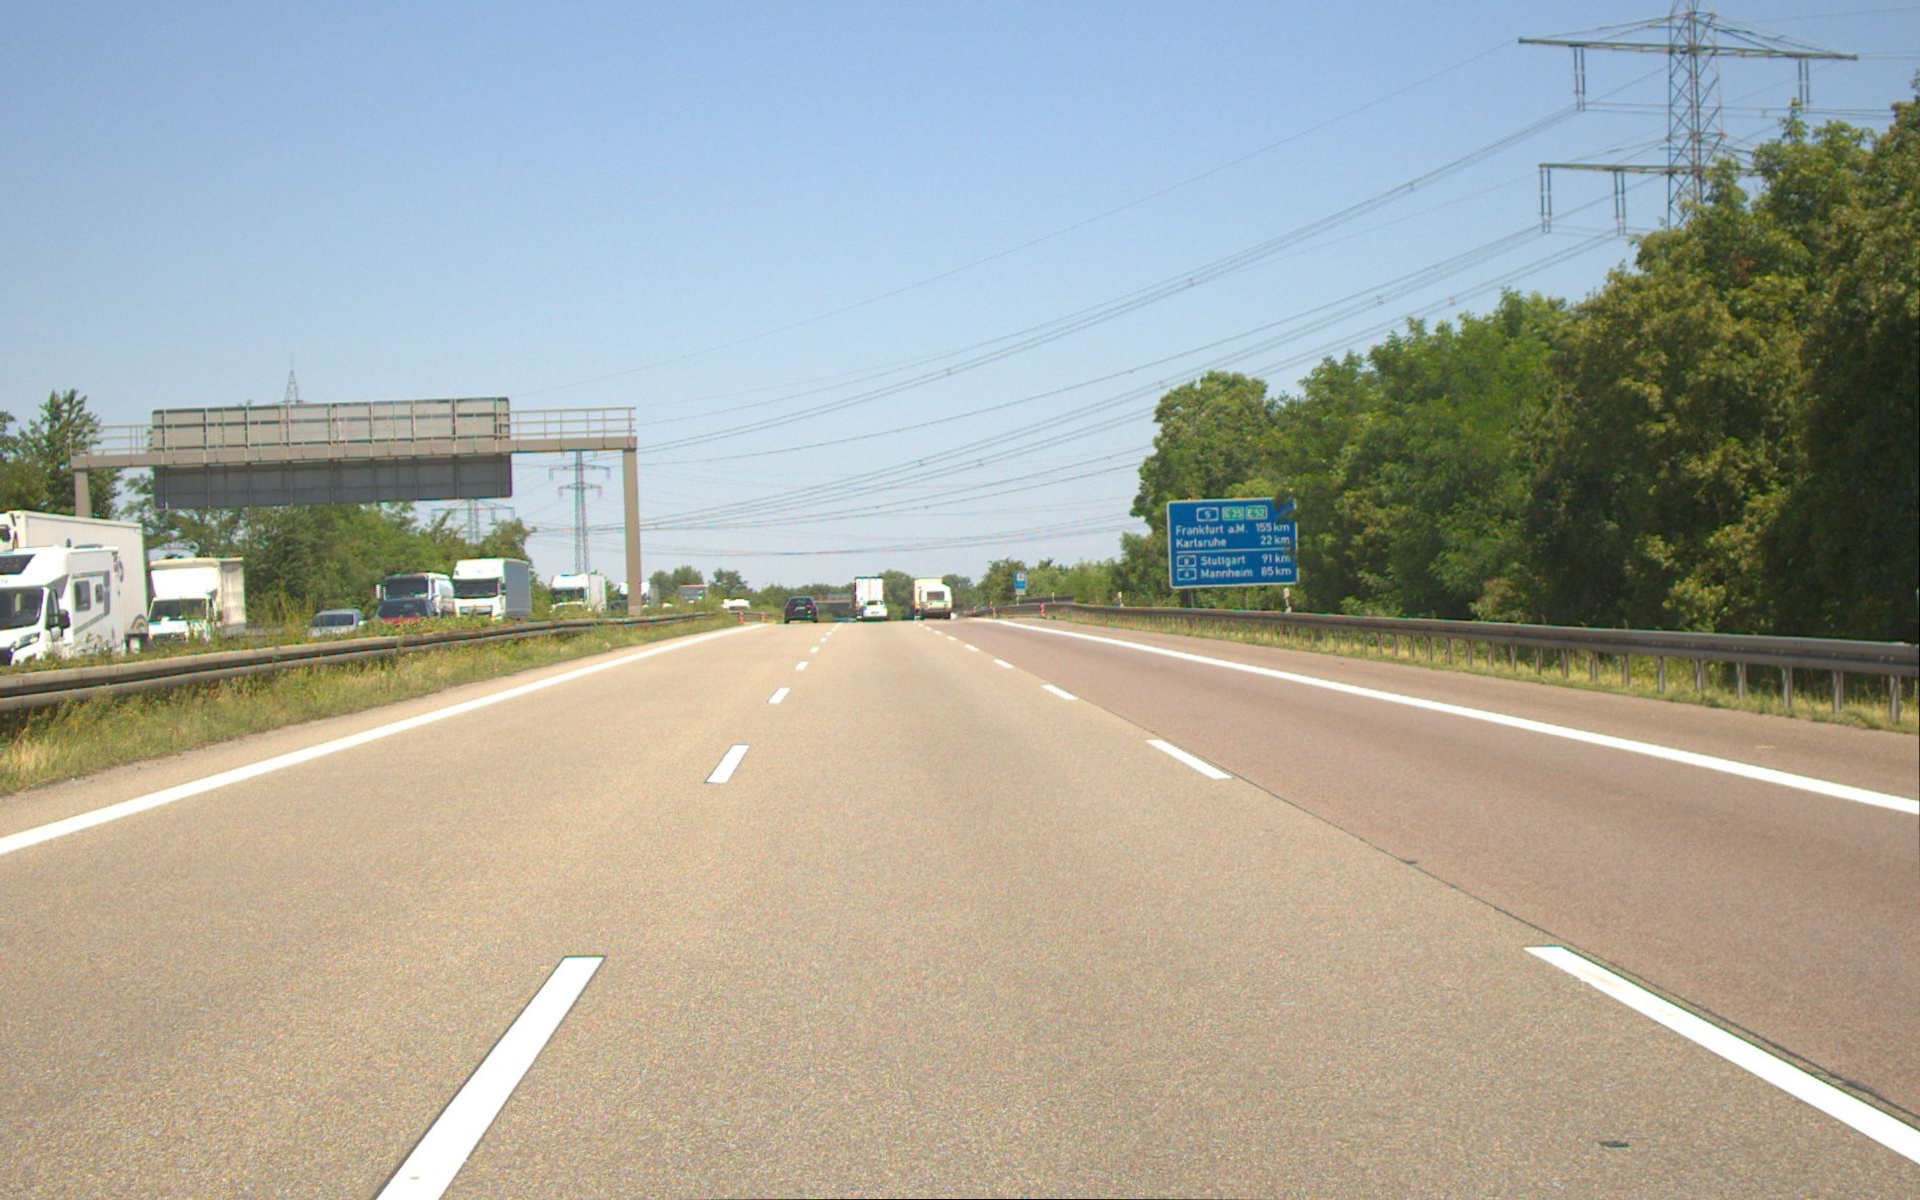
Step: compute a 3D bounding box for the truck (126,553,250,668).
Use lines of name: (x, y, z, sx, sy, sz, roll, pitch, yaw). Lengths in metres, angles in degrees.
truck: (-24.329, 0.313, 108.681, 2.369, 3.453, 7.423, -1, 0, -2)

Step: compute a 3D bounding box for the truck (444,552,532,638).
truck: (-25.422, -0.258, 185.973, 2.712, 4.374, 17.327, -1, 0, -2)

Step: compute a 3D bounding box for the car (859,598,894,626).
car: (-5.945, 0.865, 246.449, 2.177, 1.923, 4.611, -2, 0, 2)

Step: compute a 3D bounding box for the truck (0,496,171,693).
truck: (-22.978, -0.043, 84.879, 3.216, 4.362, 17.193, -5, 0, -2)

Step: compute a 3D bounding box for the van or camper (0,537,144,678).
van or camper: (-18.066, 0.137, 66.838, 2.468, 2.551, 7.808, -2, 0, 0)

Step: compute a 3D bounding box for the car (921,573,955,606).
car: (-1.409, -0.635, 216.199, 1.993, 2.007, 4.000, -2, 0, -2)

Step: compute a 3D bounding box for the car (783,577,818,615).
car: (-8.594, -0.221, 185.236, 1.791, 2.007, 3.888, 0, 0, -1)

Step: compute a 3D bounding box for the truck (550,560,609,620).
truck: (-27.428, -0.682, 248.658, 2.960, 4.077, 17.029, -1, 0, -2)

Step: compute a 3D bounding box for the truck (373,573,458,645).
truck: (-25.174, 0.396, 159.306, 2.712, 3.197, 8.925, -1, 0, -2)
